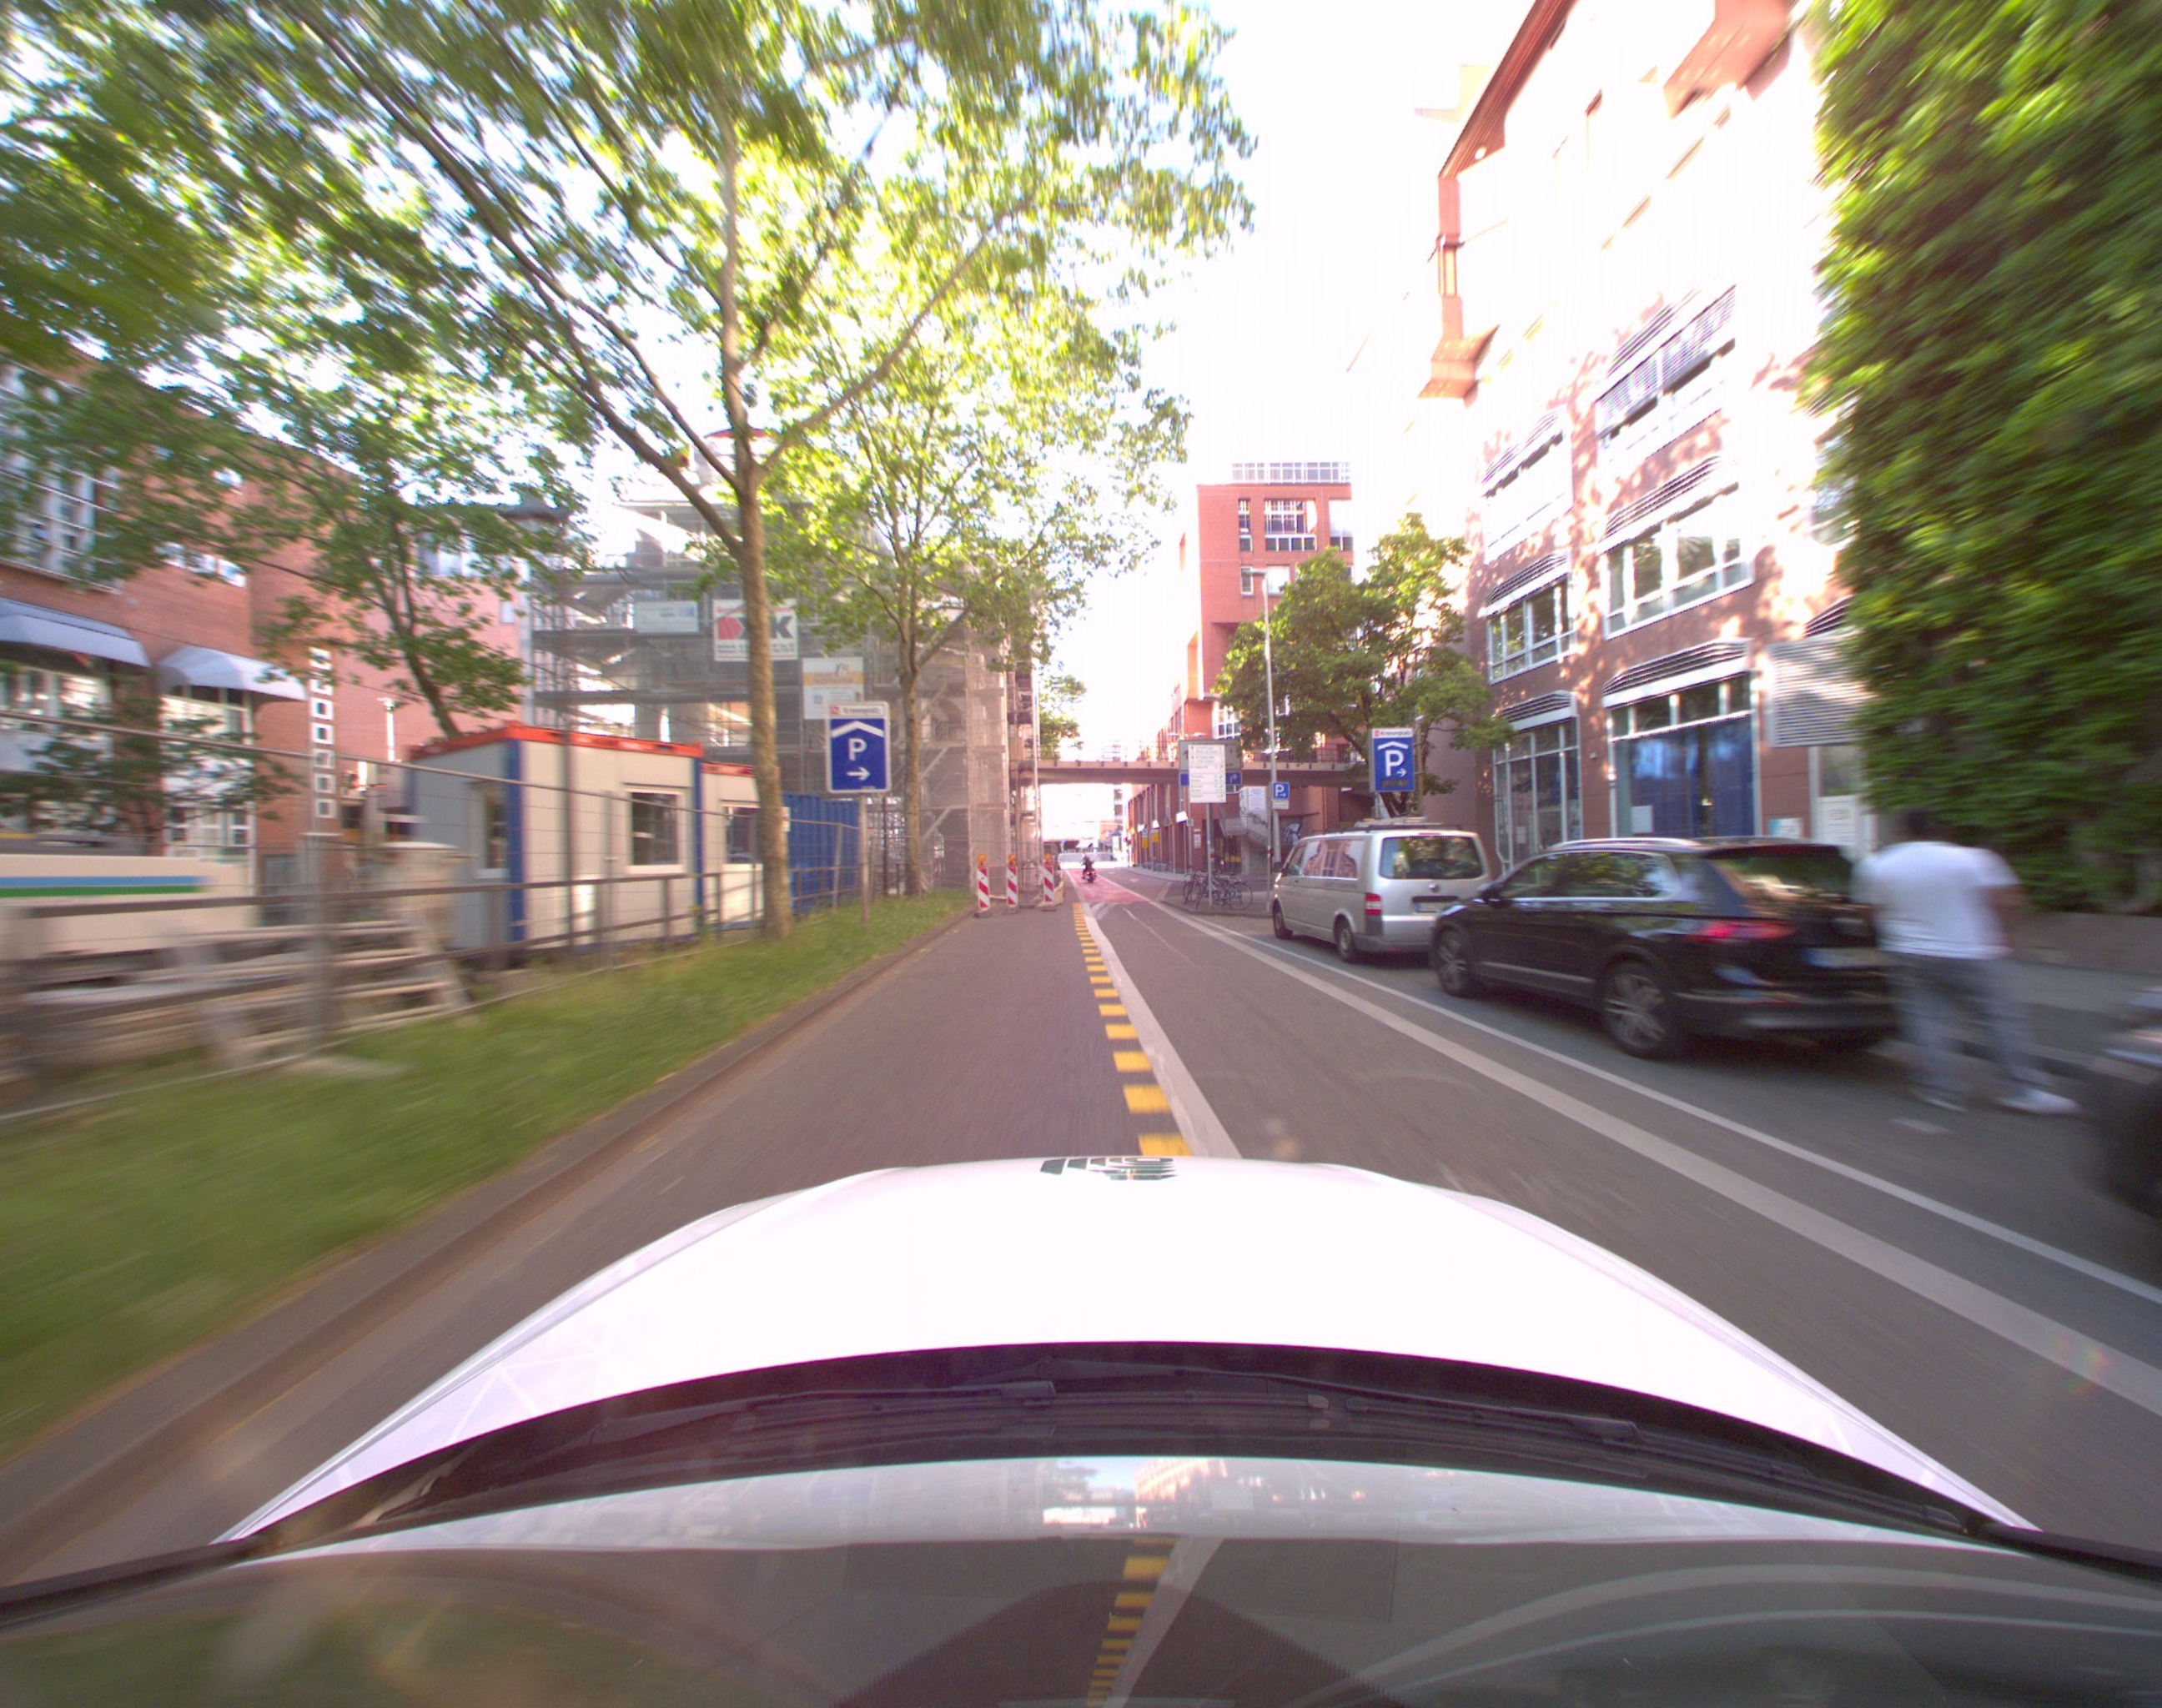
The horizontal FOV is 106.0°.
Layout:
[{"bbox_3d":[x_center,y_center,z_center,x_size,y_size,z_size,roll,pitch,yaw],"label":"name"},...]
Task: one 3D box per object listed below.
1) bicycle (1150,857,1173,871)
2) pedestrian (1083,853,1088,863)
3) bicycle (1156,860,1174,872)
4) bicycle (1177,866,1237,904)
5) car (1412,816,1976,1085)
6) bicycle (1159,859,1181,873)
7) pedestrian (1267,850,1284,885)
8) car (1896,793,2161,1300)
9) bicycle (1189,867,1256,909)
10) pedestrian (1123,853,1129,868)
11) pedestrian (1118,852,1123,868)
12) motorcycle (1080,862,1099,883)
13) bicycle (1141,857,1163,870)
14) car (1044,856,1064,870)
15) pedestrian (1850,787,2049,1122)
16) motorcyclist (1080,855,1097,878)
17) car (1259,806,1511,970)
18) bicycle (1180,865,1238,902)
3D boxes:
[{"bbox_3d":[6.875,0.873,69.678,1.887,1.119,0.550,-2,0,-3],"label":"bicycle"},{"bbox_3d":[0.657,0.572,129.738,0.544,1.583,0.550,-1,0,-45],"label":"pedestrian"},{"bbox_3d":[6.729,0.962,65.517,1.330,0.841,0.424,-4,0,-1],"label":"bicycle"},{"bbox_3d":[3.687,0.887,23.824,1.661,1.067,0.504,-1,0,32],"label":"bicycle"},{"bbox_3d":[4.810,0.613,7.332,1.783,1.670,4.196,-1,0,-3],"label":"car"},{"bbox_3d":[6.870,0.925,62.771,1.606,0.955,0.555,-4,0,-1],"label":"bicycle"},{"bbox_3d":[9.306,0.631,38.959,0.568,1.633,0.777,-1,0,-3],"label":"pedestrian"},{"bbox_3d":[4.490,0.612,1.319,1.783,1.670,4.436,-1,0,-3],"label":"car"},{"bbox_3d":[3.737,0.892,21.587,1.663,1.067,0.514,-1,0,21],"label":"bicycle"},{"bbox_3d":[5.335,0.754,96.324,0.632,1.725,0.630,-1,0,-2],"label":"pedestrian"},{"bbox_3d":[4.666,0.699,96.764,0.474,1.792,0.540,-1,0,-2],"label":"pedestrian"},{"bbox_3d":[0.477,1.090,48.562,0.971,1.132,2.802,0,0,-3],"label":"motorcycle"},{"bbox_3d":[6.397,0.841,73.739,1.887,1.119,0.474,-2,0,-3],"label":"bicycle"},{"bbox_3d":[-2.787,0.945,84.630,1.919,1.388,3.995,-2,0,-4],"label":"car"},{"bbox_3d":[5.192,0.538,4.879,0.718,1.812,0.656,-2,0,-32],"label":"pedestrian"},{"bbox_3d":[0.463,0.733,48.762,0.968,1.347,1.136,0,0,-3],"label":"motorcyclist"},{"bbox_3d":[4.516,0.438,13.142,1.914,2.078,5.165,-1,0,-3],"label":"car"},{"bbox_3d":[3.867,0.886,24.704,1.661,1.067,0.504,-1,0,32],"label":"bicycle"}]
